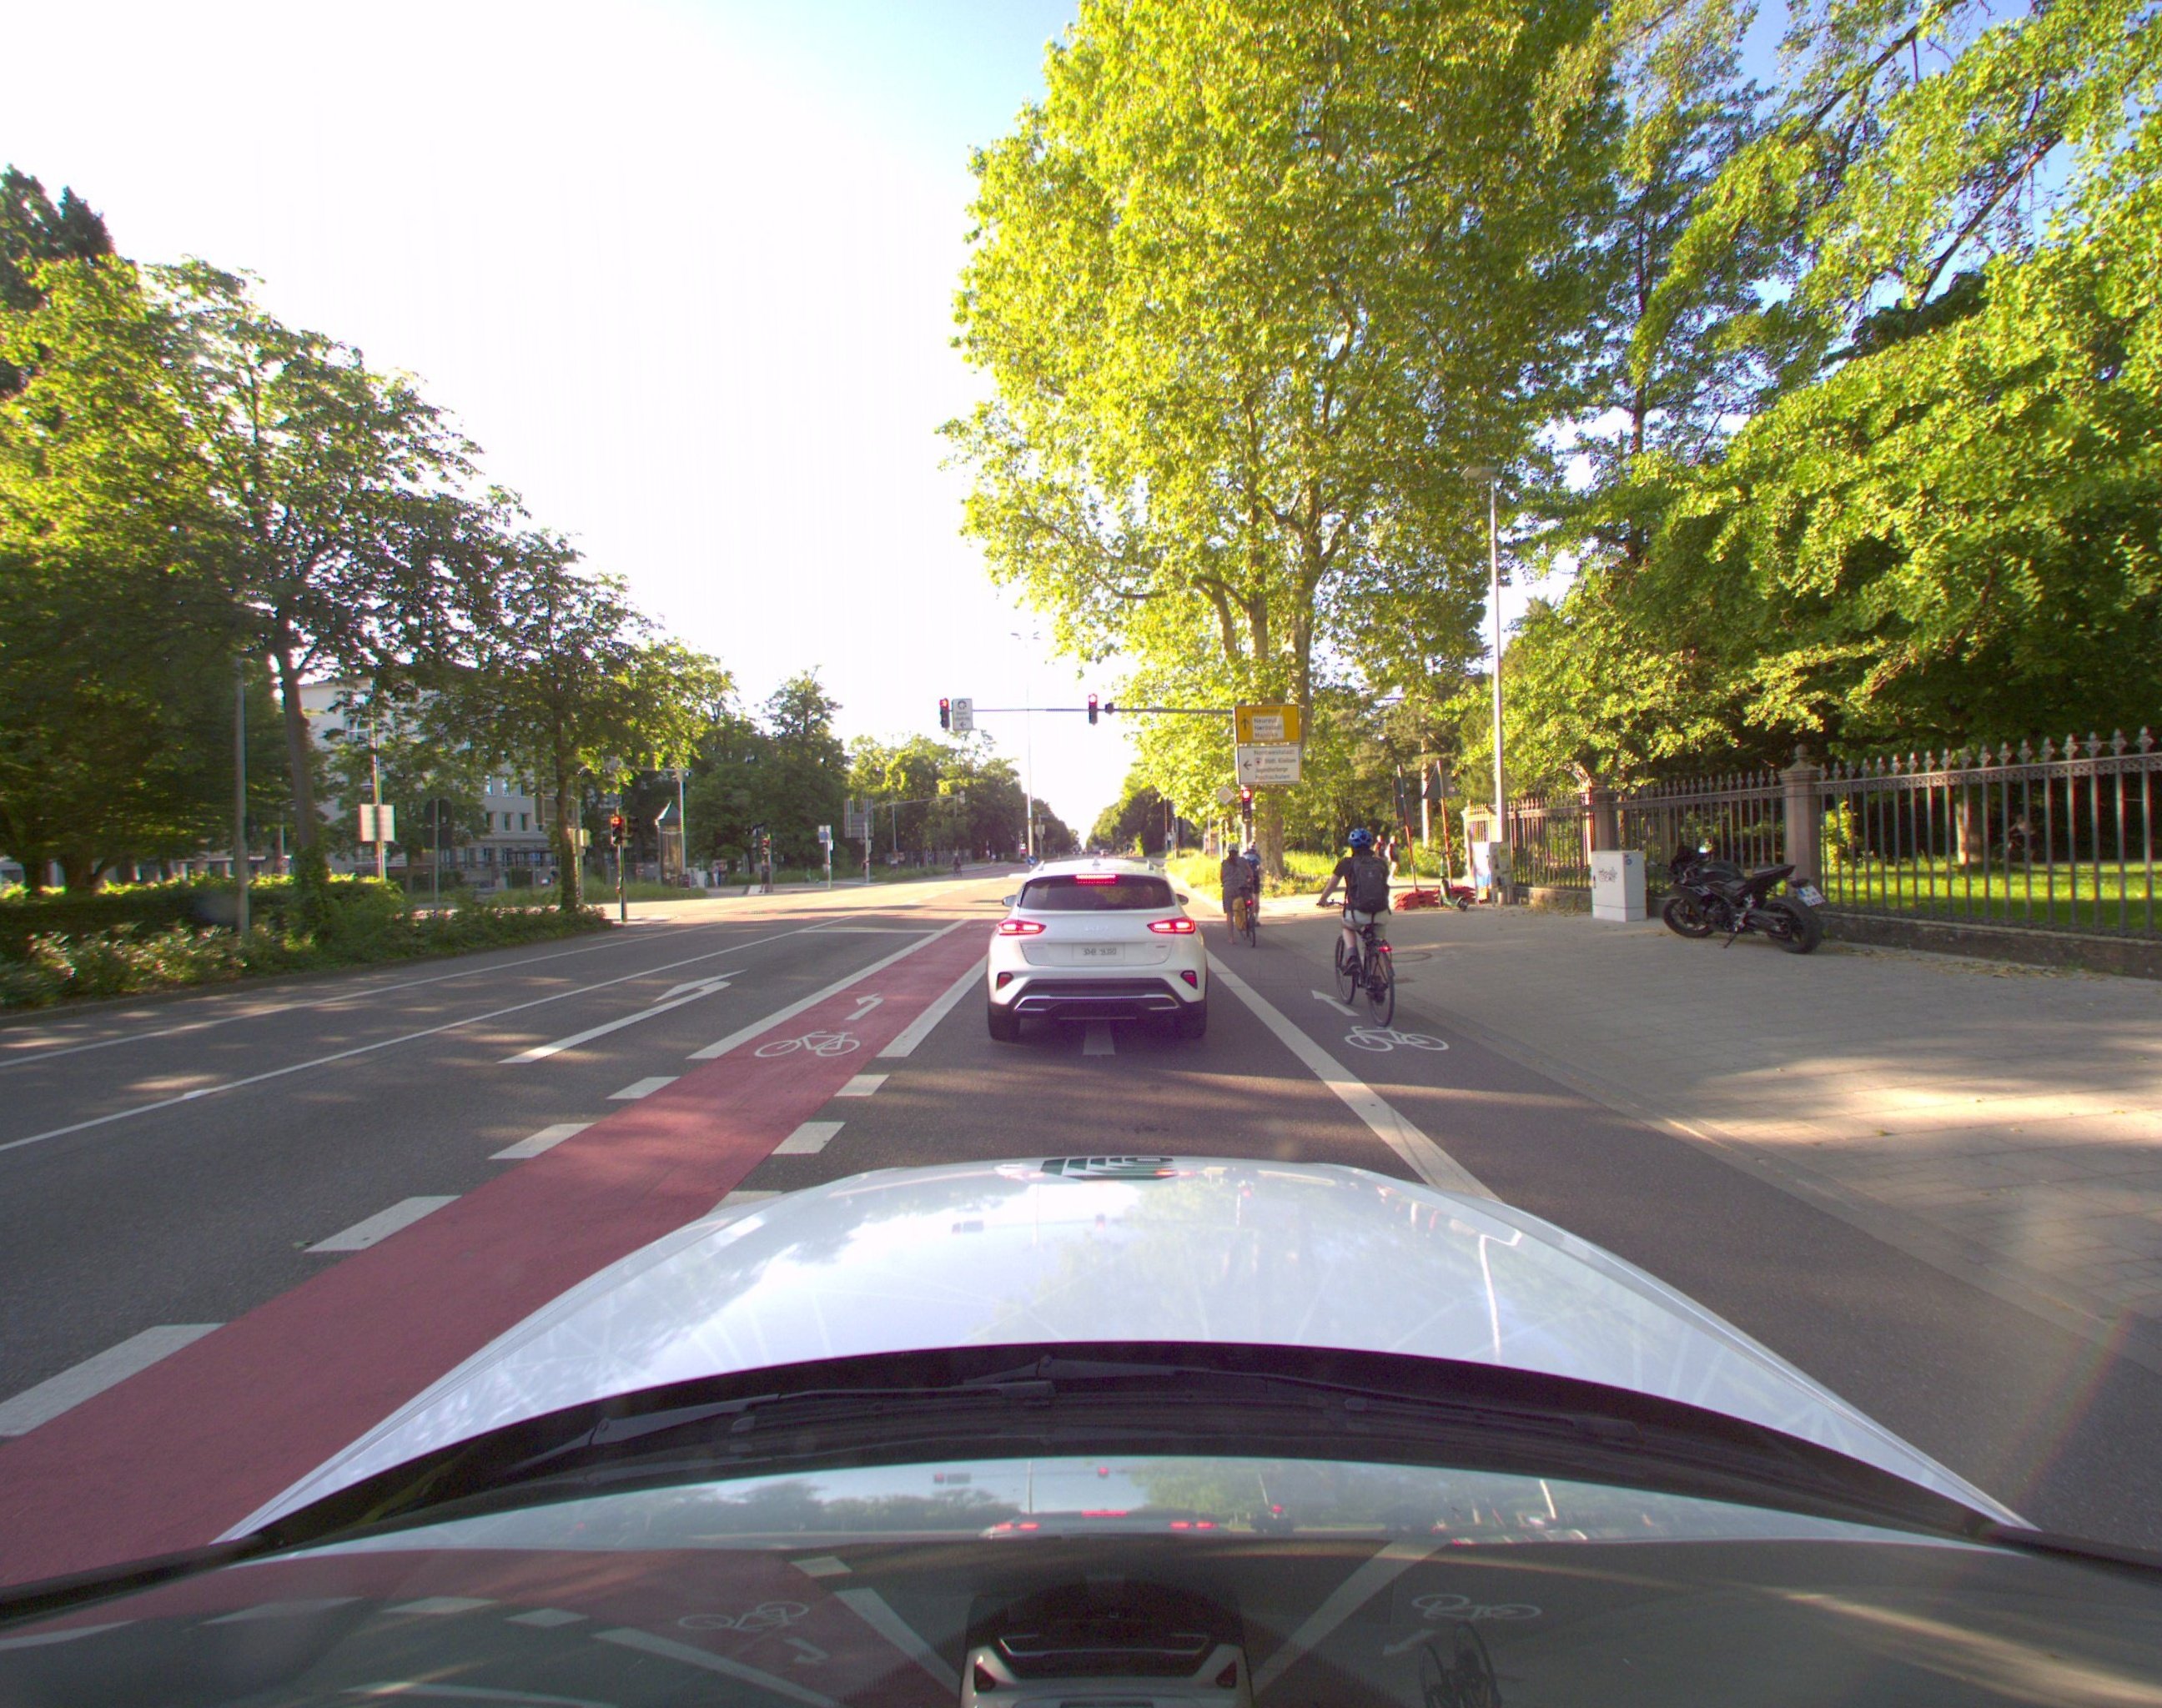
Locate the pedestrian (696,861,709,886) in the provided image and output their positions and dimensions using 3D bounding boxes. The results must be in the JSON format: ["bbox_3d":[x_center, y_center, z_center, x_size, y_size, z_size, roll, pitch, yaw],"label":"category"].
[{"bbox_3d":[-25.453,1.312,54.723,0.627,1.642,0.445,-1,-1,0],"label":"pedestrian"}]

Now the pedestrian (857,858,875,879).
[{"bbox_3d":[-16.521,1.107,62.507,1.086,1.603,0.999,-3,0,-5],"label":"pedestrian"}]

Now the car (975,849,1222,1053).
[{"bbox_3d":[0.150,0.715,8.065,1.815,1.480,3.936,-1,0,0],"label":"car"}]

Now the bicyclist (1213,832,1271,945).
[{"bbox_3d":[2.660,0.543,13.544,0.750,1.795,1.165,0,0,0],"label":"bicyclist"}]

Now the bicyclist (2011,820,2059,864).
[{"bbox_3d":[32.169,-0.404,27.470,0.778,1.431,0.667,-1,-1,7],"label":"bicyclist"}]

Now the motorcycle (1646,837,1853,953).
[{"bbox_3d":[7.452,0.417,9.245,0.504,1.131,2.170,-4,0,0],"label":"motorcycle"}]

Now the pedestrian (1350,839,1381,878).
[{"bbox_3d":[11.110,0.176,31.877,0.817,1.518,0.914,-1,-1,-6],"label":"pedestrian"}]

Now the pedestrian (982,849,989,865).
[{"bbox_3d":[-12.357,0.410,105.507,0.636,2.014,0.756,-1,-1,15],"label":"pedestrian"}]

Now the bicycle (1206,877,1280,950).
[{"bbox_3d":[2.661,0.943,13.669,0.755,1.013,2.569,0,0,0],"label":"bicycle"}]

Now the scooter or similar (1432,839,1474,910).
[{"bbox_3d":[7.274,0.387,15.950,0.227,1.327,1.172,-3,0,0],"label":"scooter or similar"}]

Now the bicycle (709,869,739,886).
[{"bbox_3d":[-23.979,1.567,54.737,1.859,1.148,0.290,-1,-1,-6],"label":"bicycle"}]

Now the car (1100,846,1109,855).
[{"bbox_3d":[5.806,-0.911,198.393,1.986,2.013,4.002,-3,0,2],"label":"car"}]

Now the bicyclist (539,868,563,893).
[{"bbox_3d":[-35.006,1.737,53.806,0.971,1.606,0.878,-3,0,2],"label":"bicyclist"}]

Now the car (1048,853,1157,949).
[{"bbox_3d":[0.367,0.765,15.098,1.723,1.483,3.516,-3,0,0],"label":"car"}]

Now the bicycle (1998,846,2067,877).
[{"bbox_3d":[32.096,0.239,27.471,1.608,1.015,0.476,-1,-1,6],"label":"bicycle"}]

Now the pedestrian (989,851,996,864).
[{"bbox_3d":[-11.487,0.455,105.304,0.782,1.785,0.751,-1,-1,2],"label":"pedestrian"}]

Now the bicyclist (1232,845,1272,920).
[{"bbox_3d":[3.492,0.572,16.701,0.552,1.478,0.717,-5,-1,0],"label":"bicyclist"}]

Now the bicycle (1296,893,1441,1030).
[{"bbox_3d":[2.652,0.939,7.781,0.666,1.009,2.081,-1,0,0],"label":"bicycle"}]

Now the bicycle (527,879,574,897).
[{"bbox_3d":[-35.033,2.236,53.808,2.695,0.989,0.581,-3,0,2],"label":"bicycle"}]

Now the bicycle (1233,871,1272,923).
[{"bbox_3d":[3.501,0.866,16.728,0.400,0.956,1.551,-5,0,0],"label":"bicycle"}]

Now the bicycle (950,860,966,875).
[{"bbox_3d":[-9.241,1.005,61.244,0.660,0.989,2.507,-3,0,4],"label":"bicycle"}]

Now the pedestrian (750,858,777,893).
[{"bbox_3d":[-18.662,1.273,47.852,0.990,2.014,1.193,-1,-1,7],"label":"pedestrian"}]

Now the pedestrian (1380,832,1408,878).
[{"bbox_3d":[11.773,0.035,30.661,0.688,1.699,0.643,-3,0,-5],"label":"pedestrian"}]

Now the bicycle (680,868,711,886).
[{"bbox_3d":[-26.005,1.547,55.003,1.856,1.148,0.442,-1,-1,-2],"label":"bicycle"}]

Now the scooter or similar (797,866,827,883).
[{"bbox_3d":[-18.795,1.409,56.879,0.703,1.124,1.933,-1,0,34],"label":"scooter or similar"}]

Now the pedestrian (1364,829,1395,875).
[{"bbox_3d":[11.854,-0.074,32.352,0.816,1.771,0.831,-3,0,-5],"label":"pedestrian"}]

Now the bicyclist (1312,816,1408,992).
[{"bbox_3d":[2.648,0.451,7.778,0.663,1.602,0.721,-1,0,0],"label":"bicyclist"}]

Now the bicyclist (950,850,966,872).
[{"bbox_3d":[-9.269,0.507,61.171,0.871,1.608,1.189,-3,0,4],"label":"bicyclist"}]
